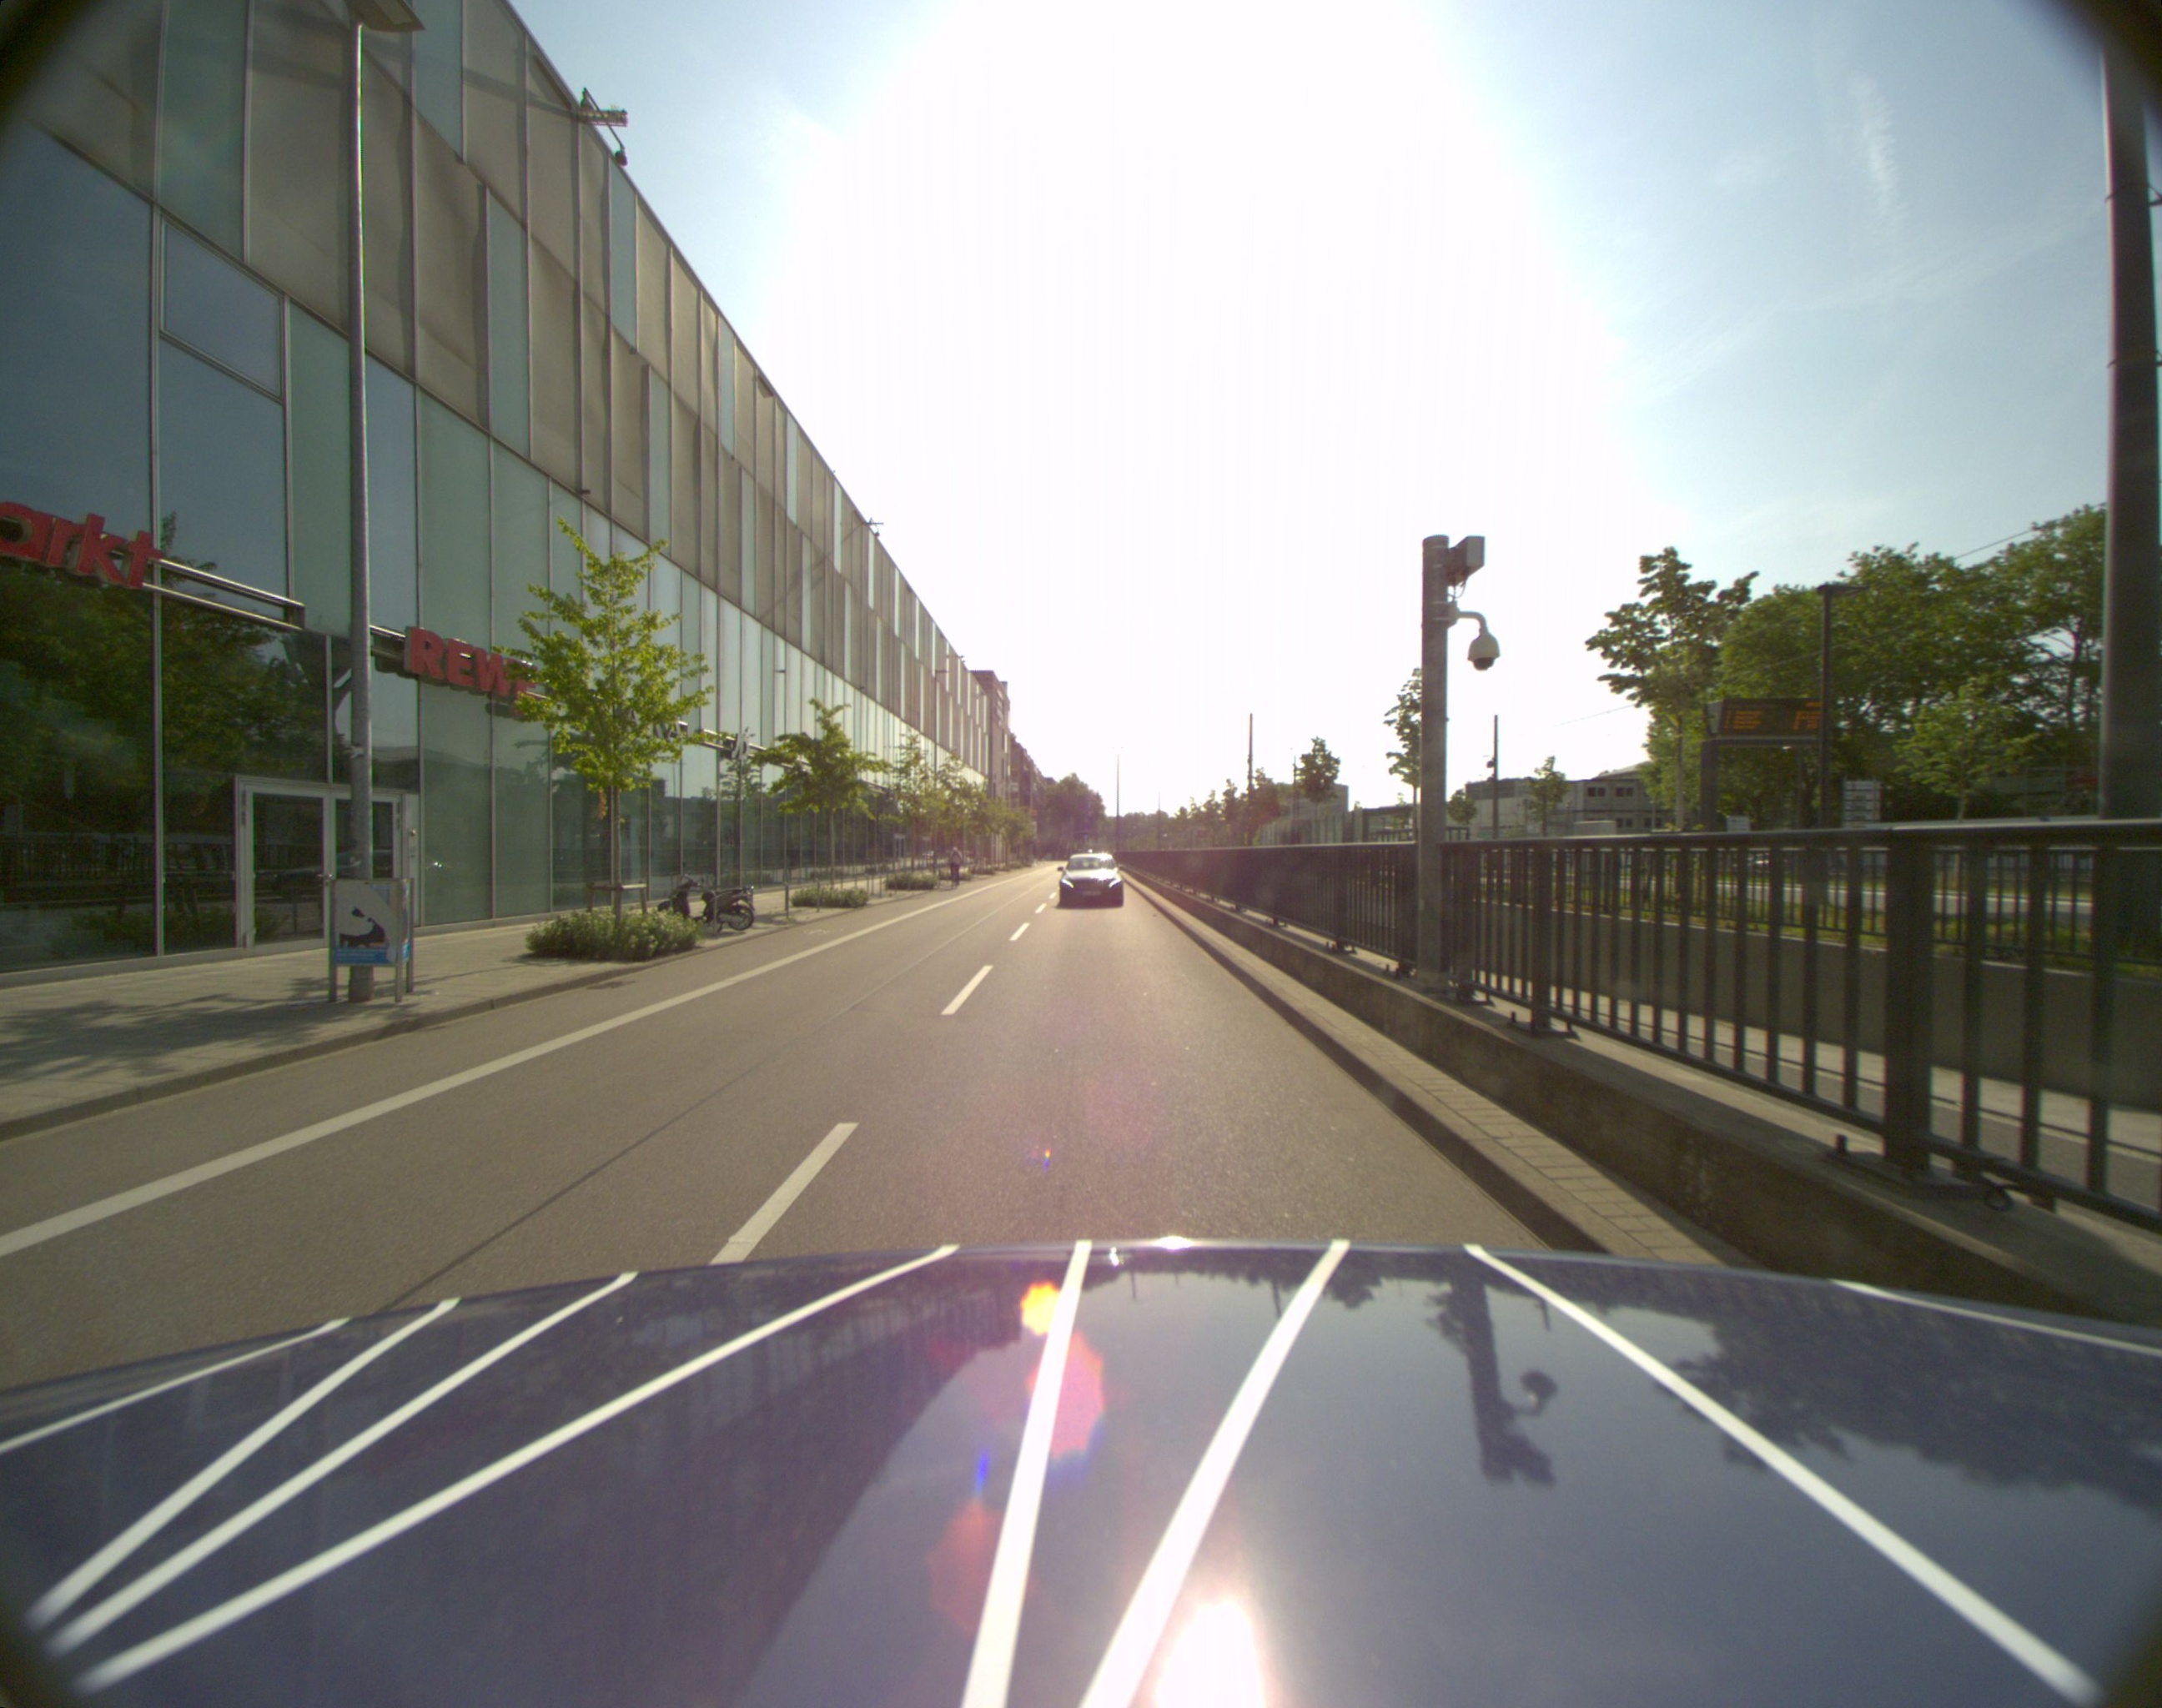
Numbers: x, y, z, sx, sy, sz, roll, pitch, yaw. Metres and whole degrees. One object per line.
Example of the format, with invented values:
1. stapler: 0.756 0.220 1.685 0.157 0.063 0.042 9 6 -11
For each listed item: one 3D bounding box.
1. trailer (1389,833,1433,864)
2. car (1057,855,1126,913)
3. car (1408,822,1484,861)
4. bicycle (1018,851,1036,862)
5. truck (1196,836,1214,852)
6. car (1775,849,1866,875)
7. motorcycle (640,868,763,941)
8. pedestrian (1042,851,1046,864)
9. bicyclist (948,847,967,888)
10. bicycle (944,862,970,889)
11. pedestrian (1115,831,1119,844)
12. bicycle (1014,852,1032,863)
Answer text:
1. trailer: 31.175 -0.560 72.001 2.050 2.765 5.021 -2 1 1
2. car: 0.419 0.784 21.940 1.716 1.429 5.058 0 0 4
3. car: 35.538 -1.192 74.439 3.061 3.492 9.233 -1 1 1
4. bicycle: -5.973 0.276 84.048 1.843 1.106 0.687 -1 1 3
5. truck: 29.643 -2.368 181.997 3.028 3.565 8.891 0 0 2
6. car: 35.432 0.366 36.507 1.504 1.195 2.960 -1 1 1
7. motorcycle: -7.353 0.956 14.832 1.975 1.342 0.866 0 1 -9
8. pedestrian: -4.733 0.414 97.895 0.468 1.640 0.777 0 1 1
9. bicyclist: -5.361 0.576 33.104 0.652 1.739 0.769 0 1 4
10. bicycle: -5.370 0.925 32.910 0.662 1.111 2.051 0 0 4
11. pedestrian: 4.665 -2.072 97.451 0.468 1.640 0.777 0 1 1
12. bicycle: -6.113 0.385 79.874 1.882 1.103 0.490 0 1 3
